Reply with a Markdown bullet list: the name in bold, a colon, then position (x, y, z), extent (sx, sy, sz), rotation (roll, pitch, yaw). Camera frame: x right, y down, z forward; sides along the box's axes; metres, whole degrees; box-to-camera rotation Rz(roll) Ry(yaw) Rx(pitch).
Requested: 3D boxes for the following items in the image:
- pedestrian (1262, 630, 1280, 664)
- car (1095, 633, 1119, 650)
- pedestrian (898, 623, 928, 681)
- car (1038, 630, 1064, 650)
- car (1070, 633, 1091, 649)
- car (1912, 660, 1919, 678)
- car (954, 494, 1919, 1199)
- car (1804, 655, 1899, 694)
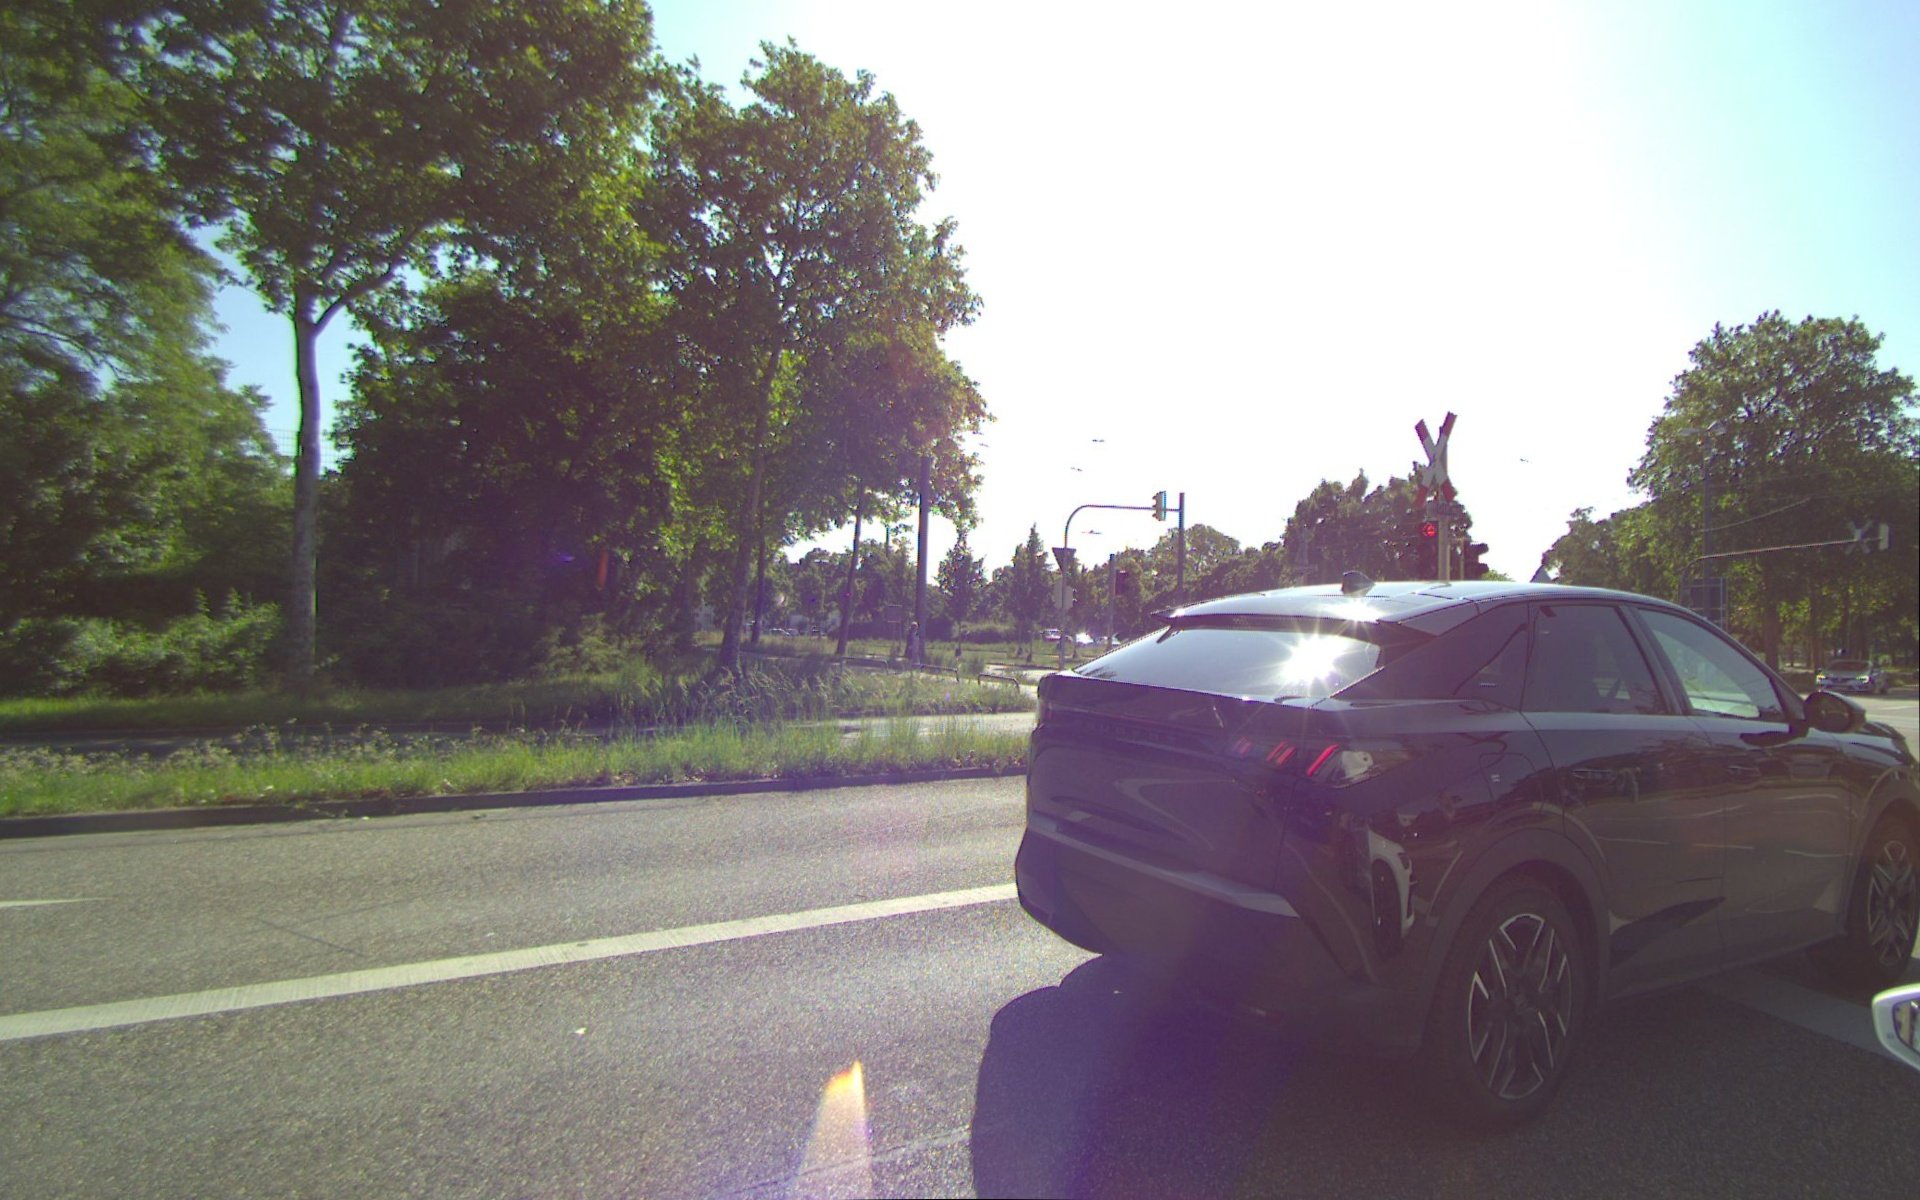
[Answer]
- **pedestrian**: position (19.260, 2.907, 62.207), extent (0.706, 2.040, 0.787), rotation (2, -2, -38)
- **car**: position (13.629, 3.831, 93.268), extent (1.421, 1.465, 3.340), rotation (2, -2, -4)
- **pedestrian**: position (-1.281, 1.426, 27.402), extent (0.563, 1.554, 0.601), rotation (2, -2, -36)
- **car**: position (8.422, 3.692, 93.479), extent (1.780, 1.725, 3.986), rotation (2, -2, -4)
- **car**: position (11.101, 3.781, 92.875), extent (1.323, 1.465, 3.340), rotation (2, -2, -4)
- **car**: position (90.218, 6.411, 93.545), extent (4.397, 1.610, 1.695), rotation (3, -4, -40)
- **car**: position (2.347, 0.697, 4.279), extent (4.384, 1.718, 1.863), rotation (3, -1, -30)
- **car**: position (37.834, 3.131, 42.603), extent (4.606, 1.528, 1.686), rotation (2, -2, -30)
